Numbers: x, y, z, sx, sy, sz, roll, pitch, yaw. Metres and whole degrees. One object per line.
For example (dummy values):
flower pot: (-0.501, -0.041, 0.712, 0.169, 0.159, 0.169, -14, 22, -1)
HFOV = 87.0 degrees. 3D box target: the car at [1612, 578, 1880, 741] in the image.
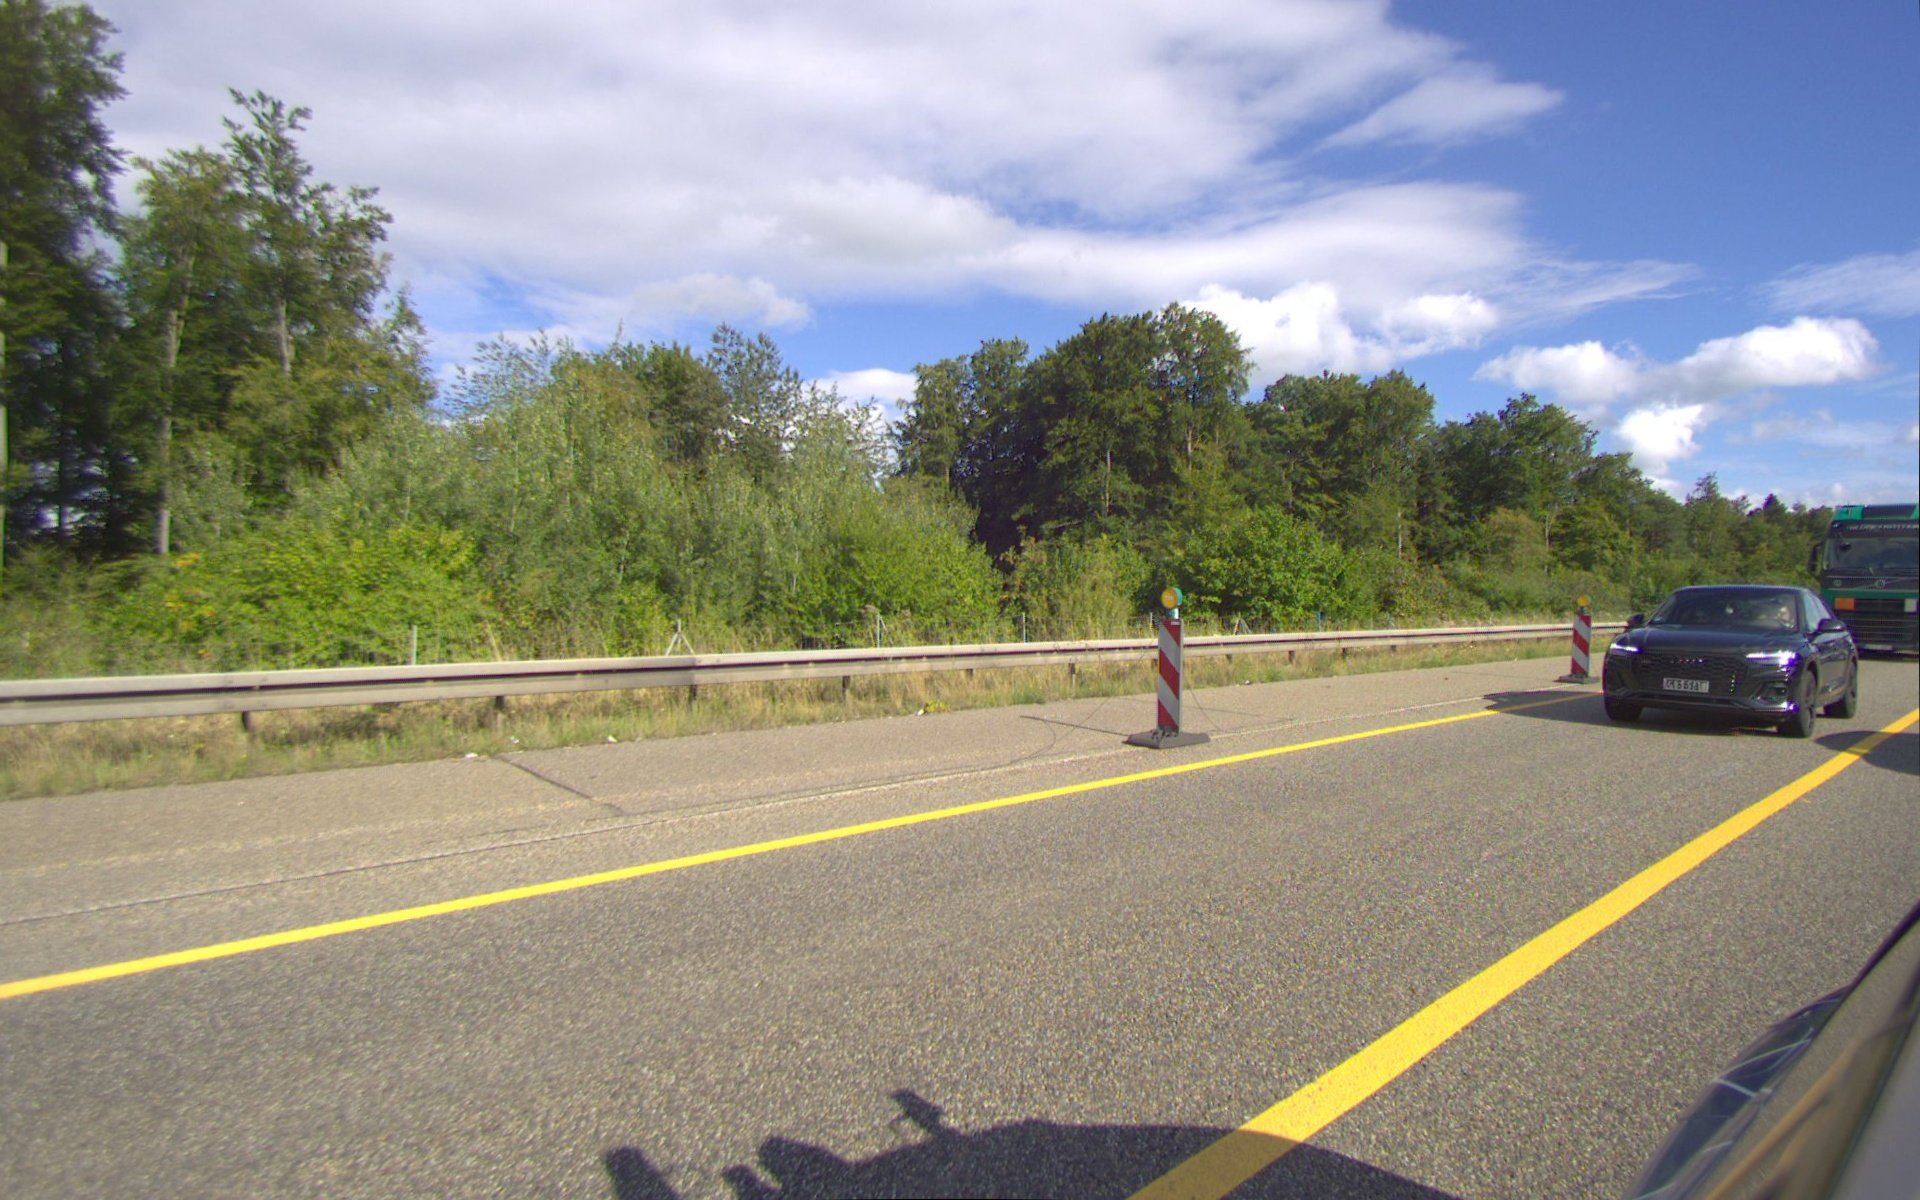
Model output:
car: (9.538, 0.560, 12.159, 4.219, 1.622, 1.781, -1, 1, -41)

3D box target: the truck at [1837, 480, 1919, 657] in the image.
truck: (24.878, -0.771, 26.094, 6.737, 4.151, 2.526, -1, 0, -41)

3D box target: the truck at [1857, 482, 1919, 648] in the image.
truck: (29.628, -0.869, 30.291, 13.962, 4.196, 2.468, 0, 0, -41)
